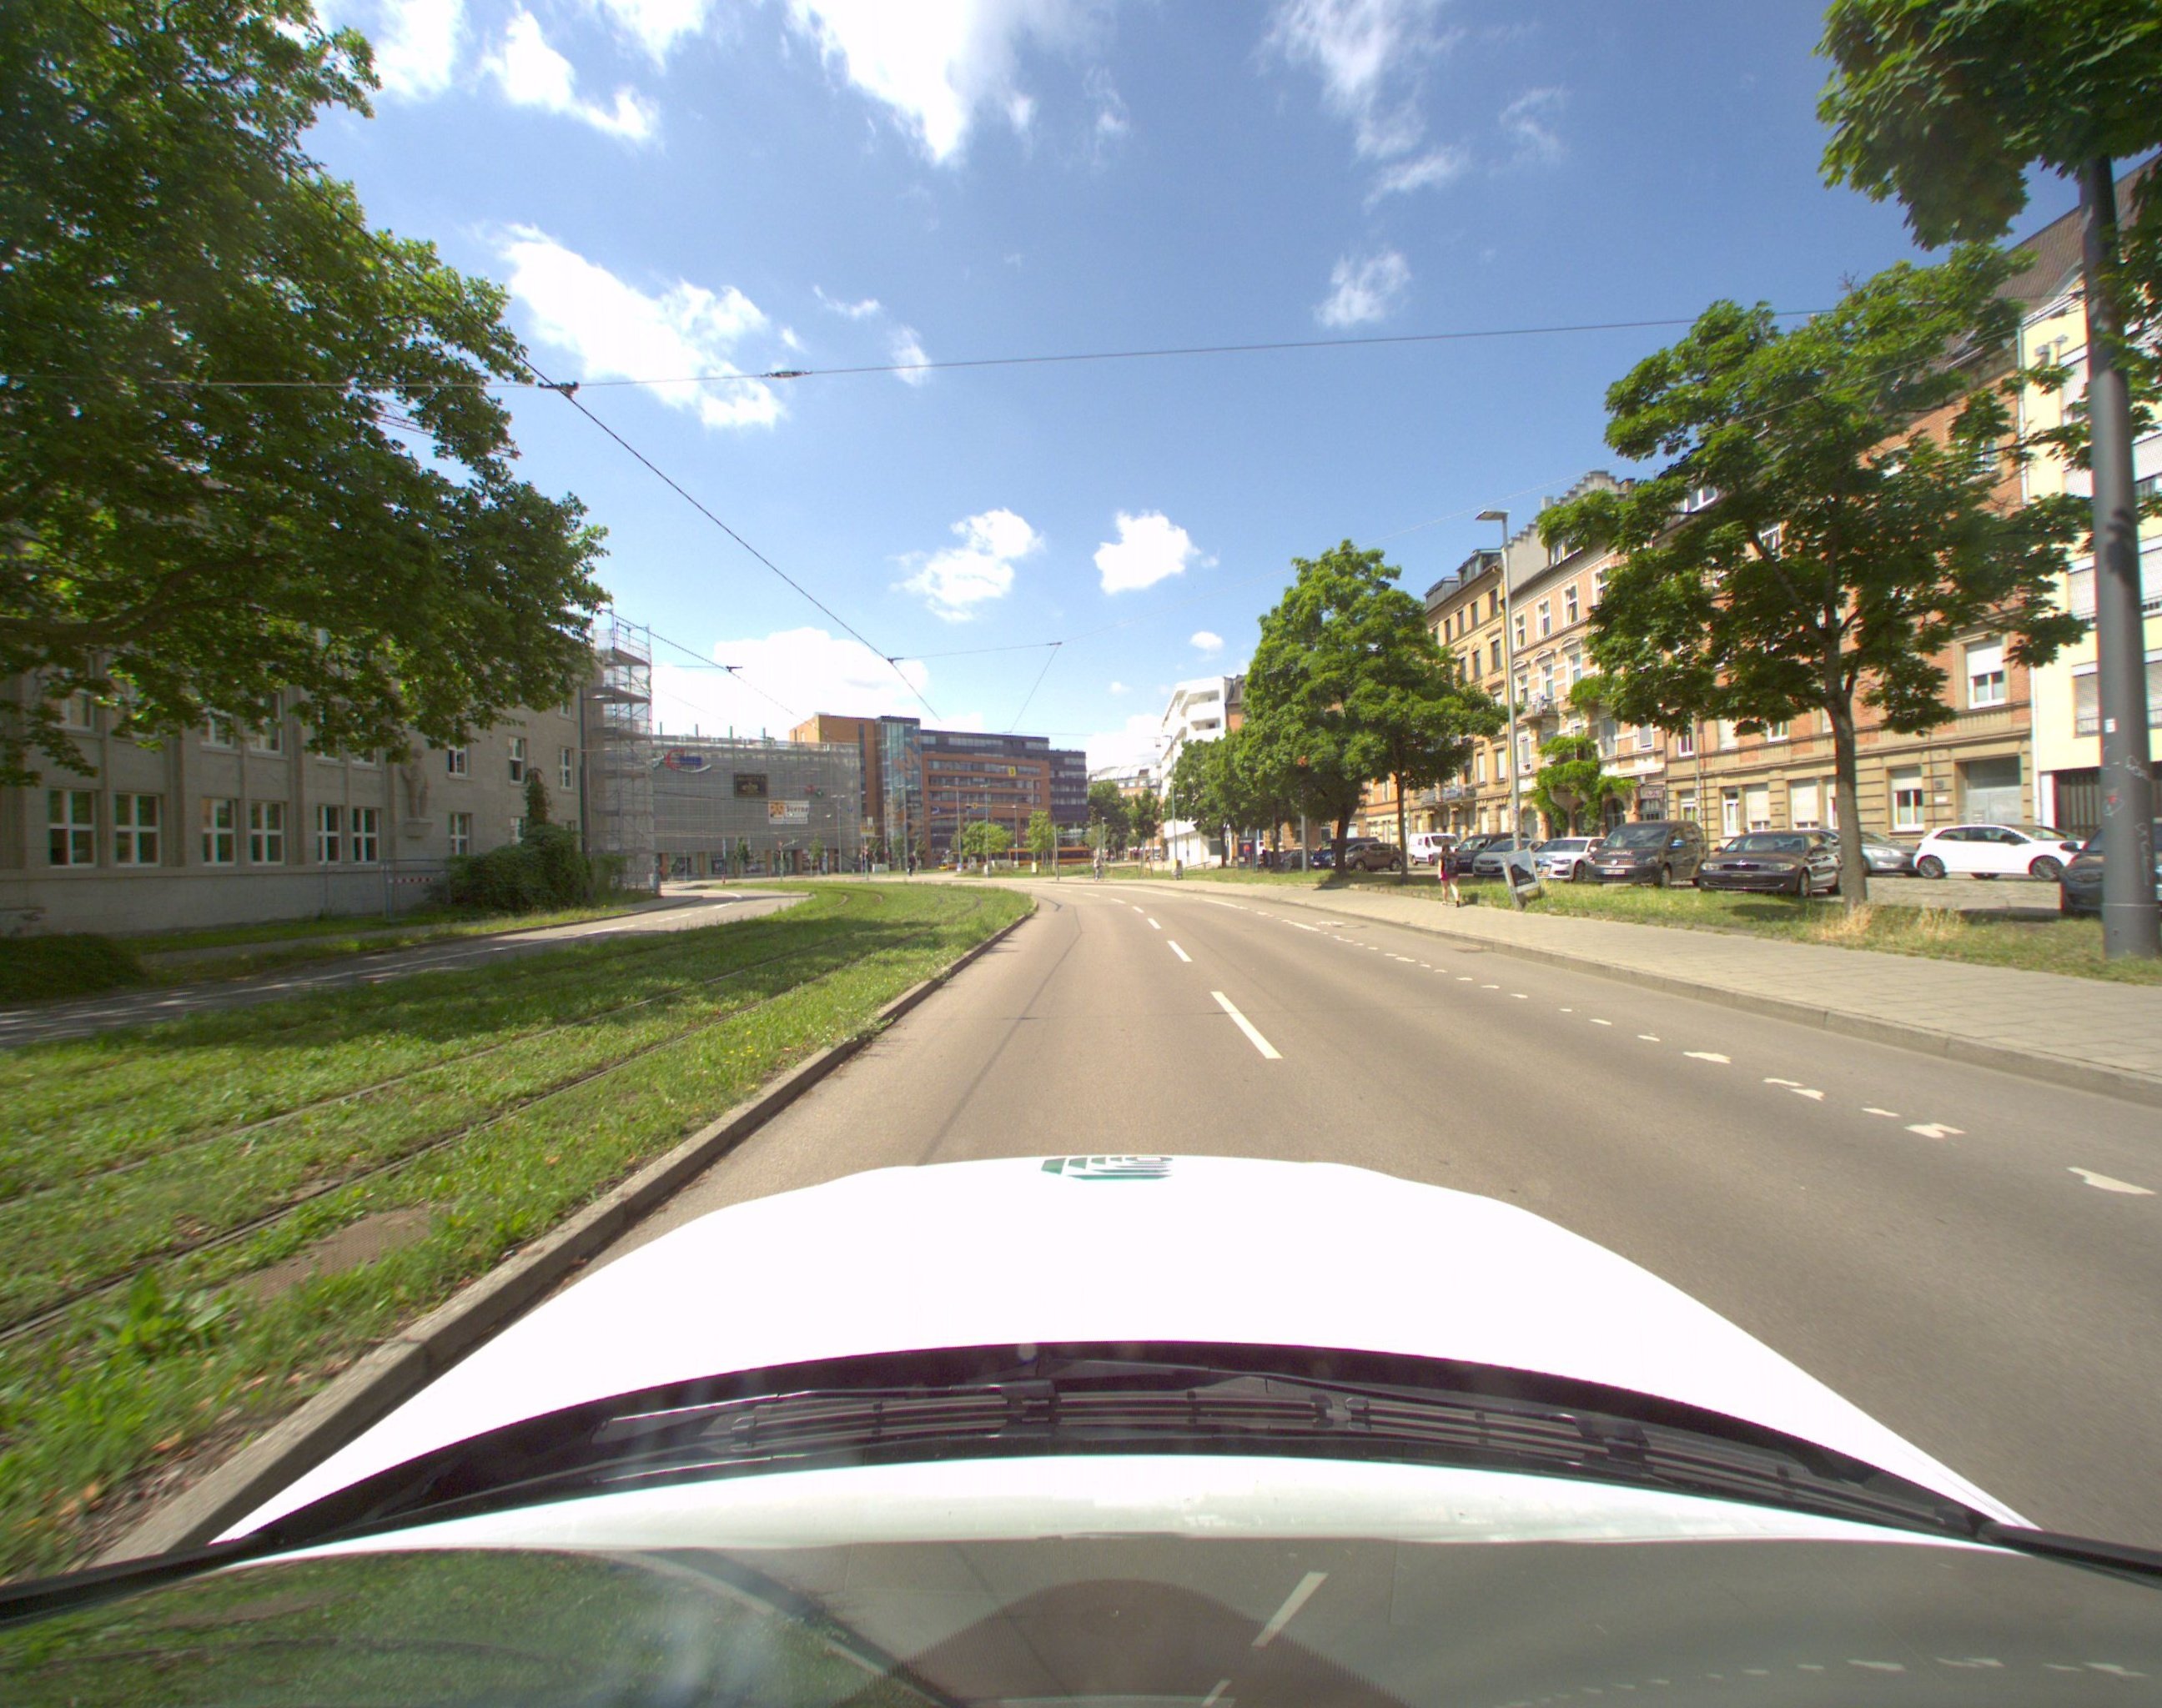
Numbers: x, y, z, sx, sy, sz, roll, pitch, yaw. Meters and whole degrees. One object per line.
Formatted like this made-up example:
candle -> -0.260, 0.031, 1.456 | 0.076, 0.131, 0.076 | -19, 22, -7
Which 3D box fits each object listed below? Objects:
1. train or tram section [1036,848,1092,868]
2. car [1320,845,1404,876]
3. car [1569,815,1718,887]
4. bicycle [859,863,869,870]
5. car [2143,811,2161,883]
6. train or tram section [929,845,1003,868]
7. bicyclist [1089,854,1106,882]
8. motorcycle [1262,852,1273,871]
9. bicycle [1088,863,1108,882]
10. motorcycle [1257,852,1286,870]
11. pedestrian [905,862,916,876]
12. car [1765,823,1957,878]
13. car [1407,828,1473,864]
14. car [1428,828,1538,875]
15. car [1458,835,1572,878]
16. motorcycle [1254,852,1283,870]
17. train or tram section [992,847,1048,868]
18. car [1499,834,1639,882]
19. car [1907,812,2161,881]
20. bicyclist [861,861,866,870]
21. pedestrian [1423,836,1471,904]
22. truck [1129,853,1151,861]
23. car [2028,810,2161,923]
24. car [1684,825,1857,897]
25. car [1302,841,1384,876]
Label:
train or tram section -> -3.111, 0.694, 154.815 | 3.026, 3.621, 12.714 | -2, -1, 40
car -> 15.296, 0.352, 44.291 | 4.182, 1.656, 1.900 | 0, -1, -26
car -> 14.956, -0.054, 21.570 | 4.384, 1.741, 1.832 | 0, -1, -35
bicycle -> -38.794, 2.195, 145.649 | 1.774, 1.224, 0.578 | 0, -2, -35
car -> 23.453, -0.189, 15.177 | 1.825, 1.492, 4.228 | -1, -1, 2
train or tram section -> -19.048, 0.438, 136.347 | 3.185, 3.599, 13.583 | -2, -1, 41
bicyclist -> 1.133, 0.964, 55.729 | 0.697, 1.824, 0.949 | -4, 0, -22
motorcycle -> 12.023, 0.487, 52.473 | 0.633, 1.167, 1.913 | -2, -1, 13
bicycle -> 1.154, 1.260, 55.725 | 0.696, 1.242, 1.826 | -4, 0, -22
motorcycle -> 12.884, 0.491, 55.058 | 1.777, 1.167, 0.639 | -2, -1, -1
pedestrian -> -21.093, 1.876, 100.922 | 0.907, 1.702, 0.813 | -3, -1, 25
car -> 23.392, -0.061, 24.695 | 1.825, 1.492, 4.228 | -1, -1, 2
car -> 23.786, -0.467, 54.251 | 2.103, 2.179, 5.395 | -1, -1, 2
car -> 15.655, -0.076, 31.693 | 4.162, 1.741, 1.835 | 0, -1, -30
car -> 15.285, 0.098, 28.608 | 4.101, 1.406, 1.832 | 0, -1, -34
motorcycle -> 12.875, 0.497, 55.940 | 1.777, 1.167, 0.639 | -2, -1, -1
train or tram section -> -10.842, 0.608, 145.581 | 3.026, 3.603, 11.060 | -2, -2, 41
car -> 15.116, 0.128, 25.144 | 4.711, 1.380, 1.833 | 0, -1, -33
car -> 23.304, -0.127, 19.995 | 1.825, 1.492, 4.228 | -1, -1, 2
bicyclist -> -38.870, 1.984, 145.604 | 0.667, 1.624, 0.545 | 0, -2, -35
pedestrian -> 8.938, 0.383, 19.902 | 0.698, 1.592, 0.905 | -2, -1, 0
truck -> 15.202, 0.774, 210.117 | 5.452, 2.086, 2.012 | -2, -2, 40
car -> 14.922, 0.152, 11.343 | 4.287, 1.380, 1.832 | 0, -1, -35
car -> 15.022, 0.150, 17.675 | 4.287, 1.380, 1.832 | 0, -1, -35
car -> 15.230, 0.272, 47.284 | 4.643, 1.927, 1.898 | 0, -1, -30
